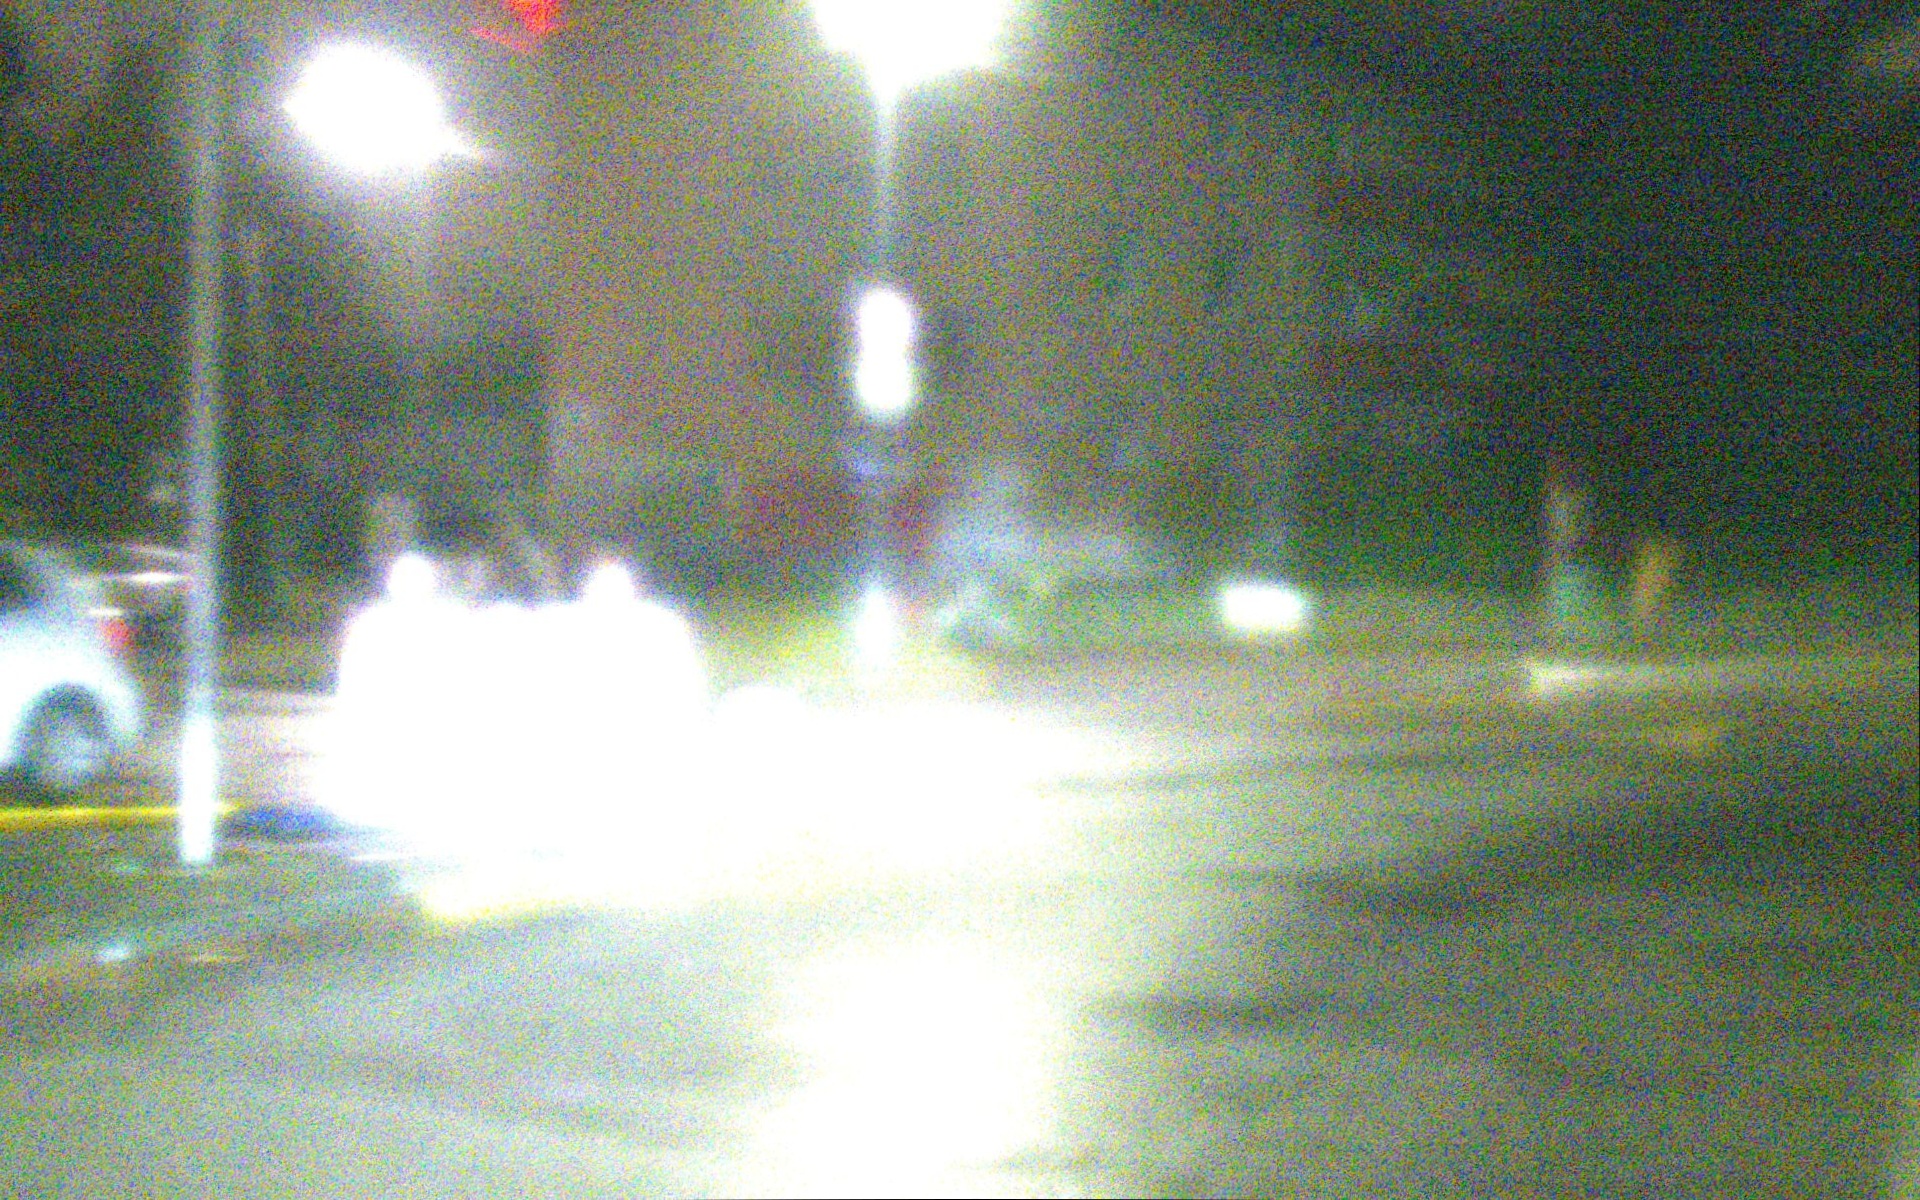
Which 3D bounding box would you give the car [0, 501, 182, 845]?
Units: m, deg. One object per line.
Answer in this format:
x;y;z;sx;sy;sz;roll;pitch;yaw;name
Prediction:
-6.363;0.336;17.460;1.876;1.752;4.383;4;2;41;car
